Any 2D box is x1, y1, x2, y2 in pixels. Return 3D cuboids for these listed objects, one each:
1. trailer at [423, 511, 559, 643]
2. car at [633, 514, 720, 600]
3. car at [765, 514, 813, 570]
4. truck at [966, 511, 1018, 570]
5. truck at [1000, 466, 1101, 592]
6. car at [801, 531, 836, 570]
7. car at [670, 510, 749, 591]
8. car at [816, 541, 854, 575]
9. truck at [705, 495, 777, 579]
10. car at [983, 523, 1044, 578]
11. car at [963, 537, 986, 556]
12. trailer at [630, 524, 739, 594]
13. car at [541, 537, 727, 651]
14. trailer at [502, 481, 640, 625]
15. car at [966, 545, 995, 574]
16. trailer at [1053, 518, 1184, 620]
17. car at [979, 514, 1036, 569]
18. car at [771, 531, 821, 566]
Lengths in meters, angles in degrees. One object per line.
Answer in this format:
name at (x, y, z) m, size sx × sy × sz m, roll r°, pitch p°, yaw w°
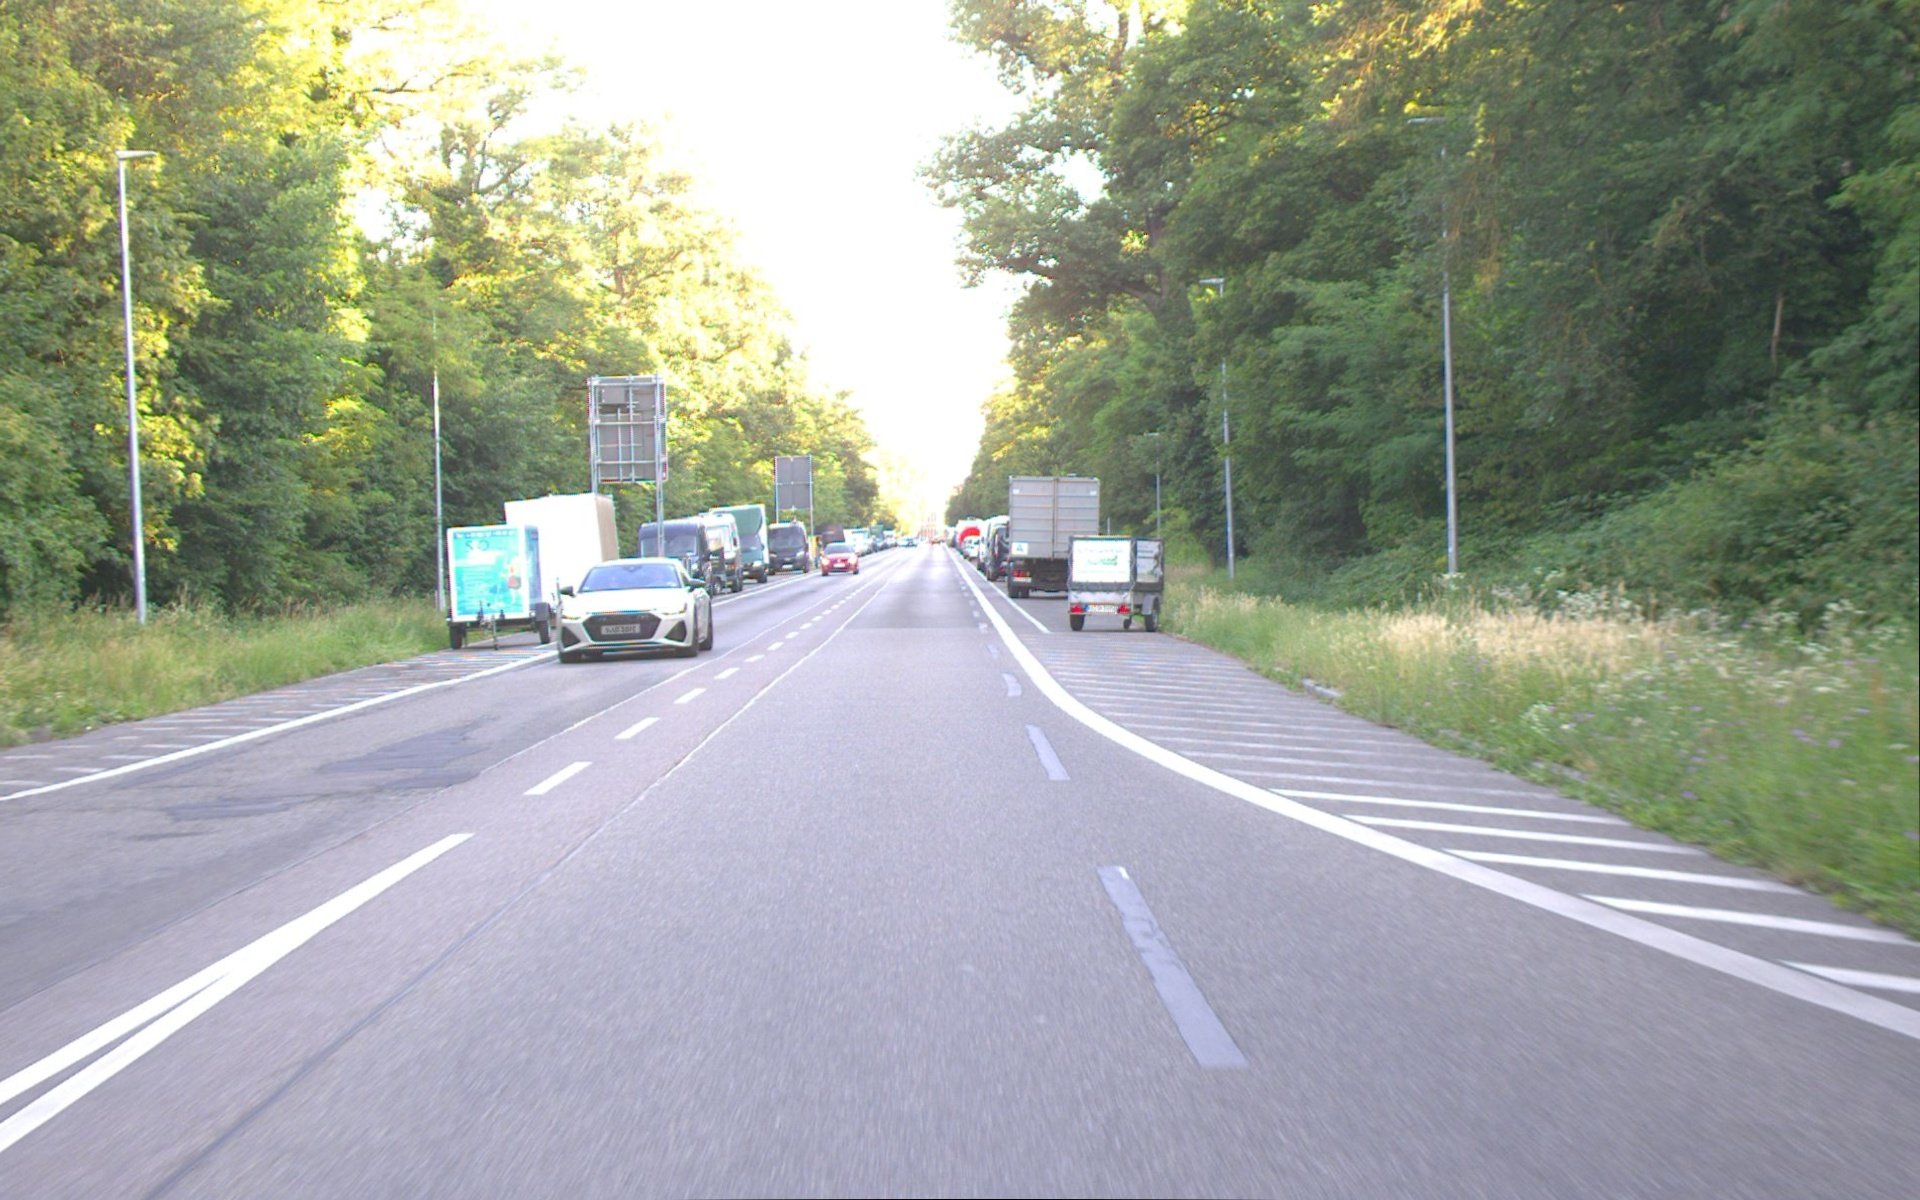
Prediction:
trailer at (-8.131, -0.424, 59.897) m, size 1.817 × 2.160 × 4.143 m, roll -2°, pitch 1°, yaw -1°
car at (-8.368, -1.300, 101.937) m, size 1.993 × 2.356 × 5.766 m, roll -4°, pitch 1°, yaw 0°
car at (-8.871, -3.015, 178.573) m, size 2.186 × 2.779 × 5.334 m, roll -2°, pitch 1°, yaw -1°
truck at (1.471, -2.730, 158.248) m, size 2.141 × 2.650 × 4.300 m, roll 0°, pitch 1°, yaw -3°
truck at (2.385, -1.882, 92.070) m, size 2.589 × 3.244 × 7.220 m, roll 0°, pitch 1°, yaw 1°
car at (-8.104, -2.872, 197.053) m, size 1.700 × 2.006 × 4.000 m, roll -7°, pitch 1°, yaw 0°
car at (-8.586, -1.724, 118.360) m, size 2.249 × 2.638 × 5.722 m, roll -2°, pitch 1°, yaw -1°
car at (-5.785, -1.948, 159.860) m, size 1.682 × 1.481 × 4.038 m, roll -2°, pitch 1°, yaw -2°
truck at (-9.149, -2.645, 143.925) m, size 2.504 × 3.317 × 6.842 m, roll -2°, pitch 1°, yaw -1°
car at (1.941, -1.808, 125.985) m, size 1.993 × 1.948 × 4.300 m, roll 0°, pitch 1°, yaw -3°
car at (0.935, -3.500, 223.533) m, size 1.427 × 1.218 × 3.412 m, roll 0°, pitch 1°, yaw -1°
trailer at (-9.016, -1.345, 112.836) m, size 1.965 × 2.147 × 3.926 m, roll -2°, pitch 1°, yaw 21°
car at (-4.691, -0.120, 50.147) m, size 2.063 × 1.430 × 4.466 m, roll -4°, pitch 1°, yaw 2°
trailer at (-8.482, -1.045, 75.502) m, size 2.326 × 2.914 × 5.627 m, roll -4°, pitch 1°, yaw -1°
car at (0.976, -1.940, 164.701) m, size 1.147 × 1.247 × 2.754 m, roll -6°, pitch 2°, yaw -2°
trailer at (2.772, -0.561, 59.486) m, size 1.457 × 1.656 × 3.775 m, roll -2°, pitch 1°, yaw 15°
car at (1.996, -2.466, 145.243) m, size 2.141 × 2.305 × 4.300 m, roll 0°, pitch 1°, yaw -3°
car at (-9.845, -3.101, 206.338) m, size 1.701 × 2.007 × 3.997 m, roll 1°, pitch 1°, yaw 18°
